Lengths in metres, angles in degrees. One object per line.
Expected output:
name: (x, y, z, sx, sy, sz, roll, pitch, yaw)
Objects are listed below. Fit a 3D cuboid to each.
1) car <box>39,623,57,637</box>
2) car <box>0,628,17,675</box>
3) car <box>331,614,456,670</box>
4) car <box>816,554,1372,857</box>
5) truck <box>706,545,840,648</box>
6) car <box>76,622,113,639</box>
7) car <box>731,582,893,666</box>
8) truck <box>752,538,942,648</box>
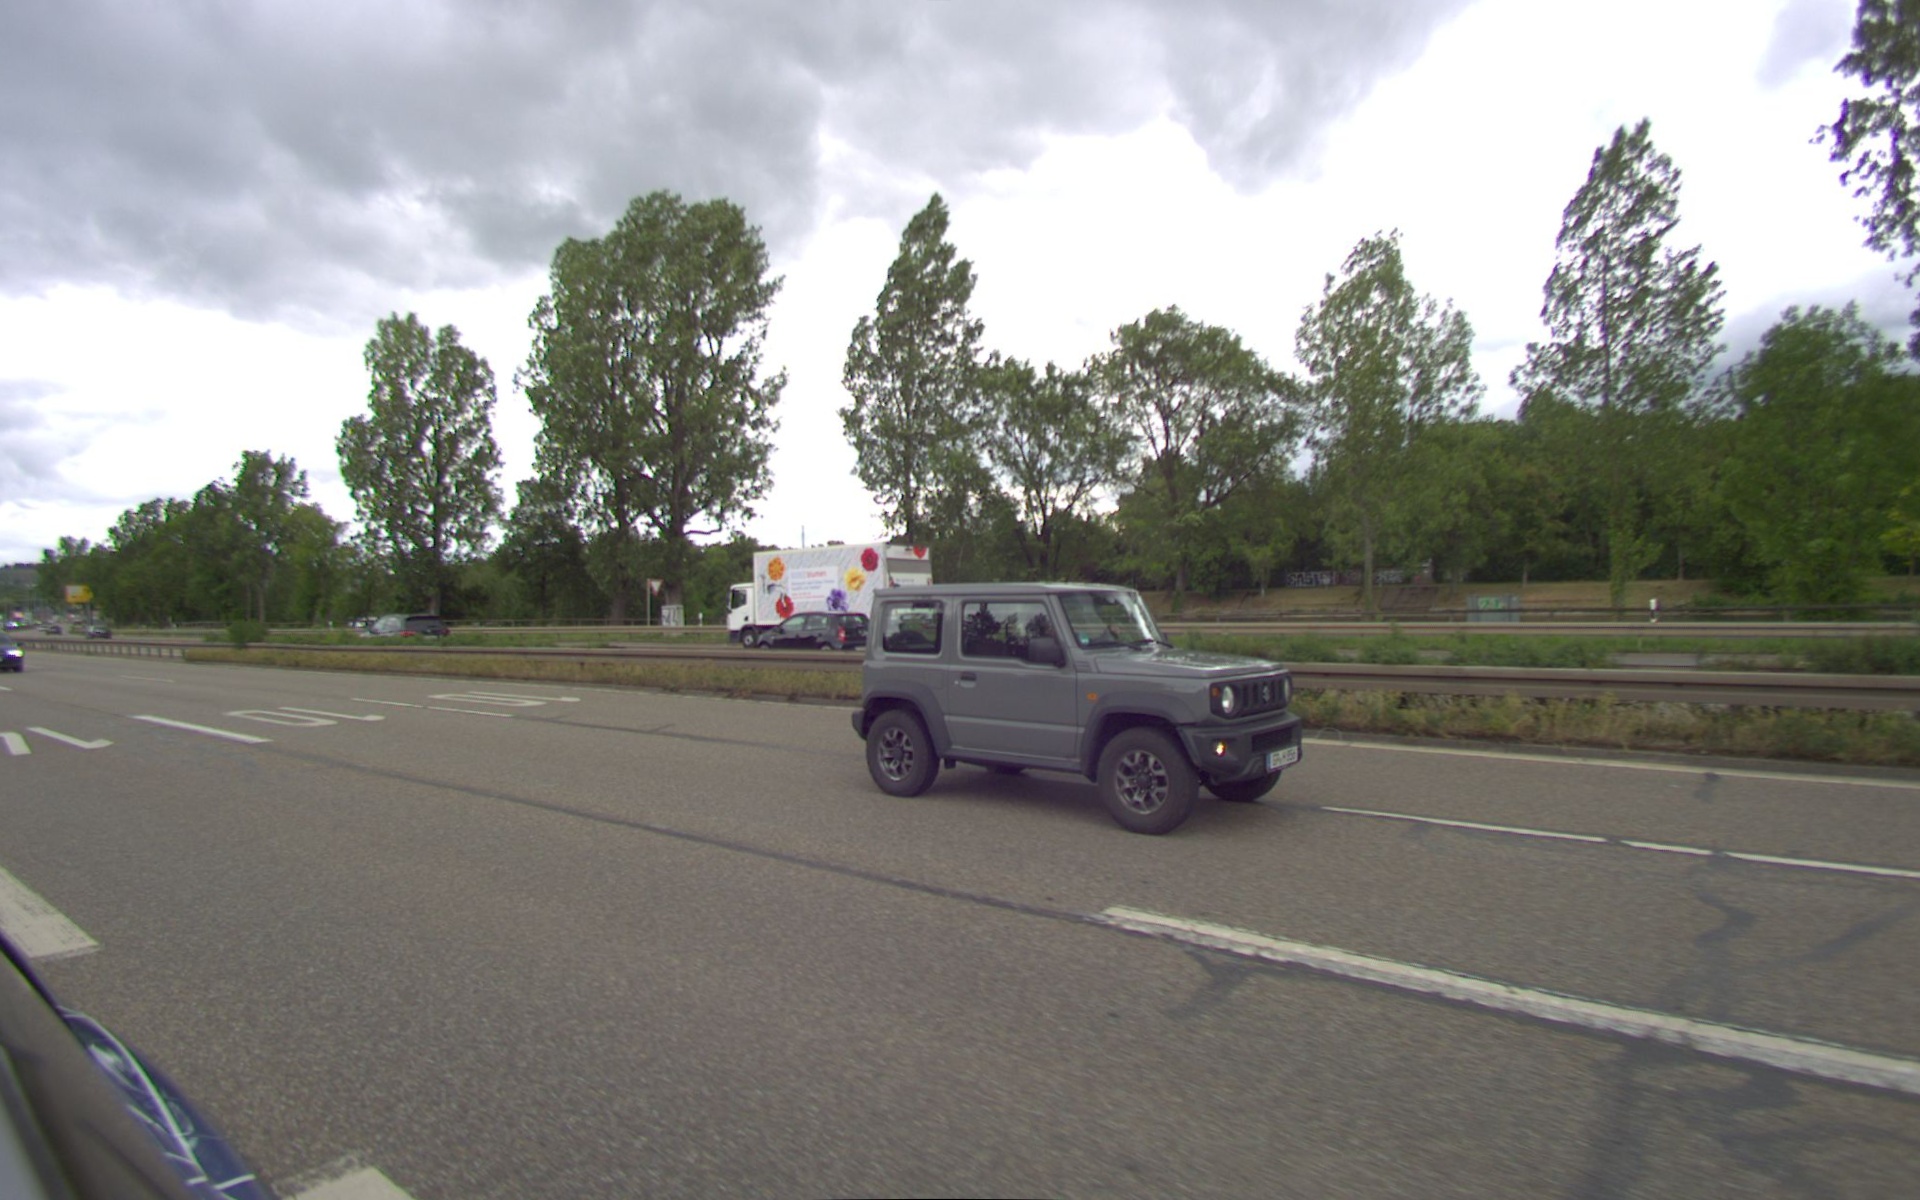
car: (-143.900, 4.752, 159.725, 1.969, 2.029, 5.228, -3, 0, -42)
car: (-33.353, 1.759, 34.223, 4.305, 1.512, 1.913, -2, -1, 44)
car: (-20.144, 1.455, 35.873, 5.517, 1.743, 1.829, -2, 2, 38)
car: (0.846, 0.639, 7.803, 3.996, 1.749, 1.663, -1, -1, 41)
truck: (-7.146, -0.140, 38.725, 3.991, 3.670, 2.959, -2, 2, 35)
car: (-91.209, 3.238, 106.664, 4.643, 1.621, 1.975, -2, 1, 38)
car: (-4.015, 0.647, 27.238, 3.992, 2.028, 1.976, -2, 2, 36)
truck: (-4.136, -0.223, 36.572, 6.323, 3.670, 2.957, -2, 2, 35)
